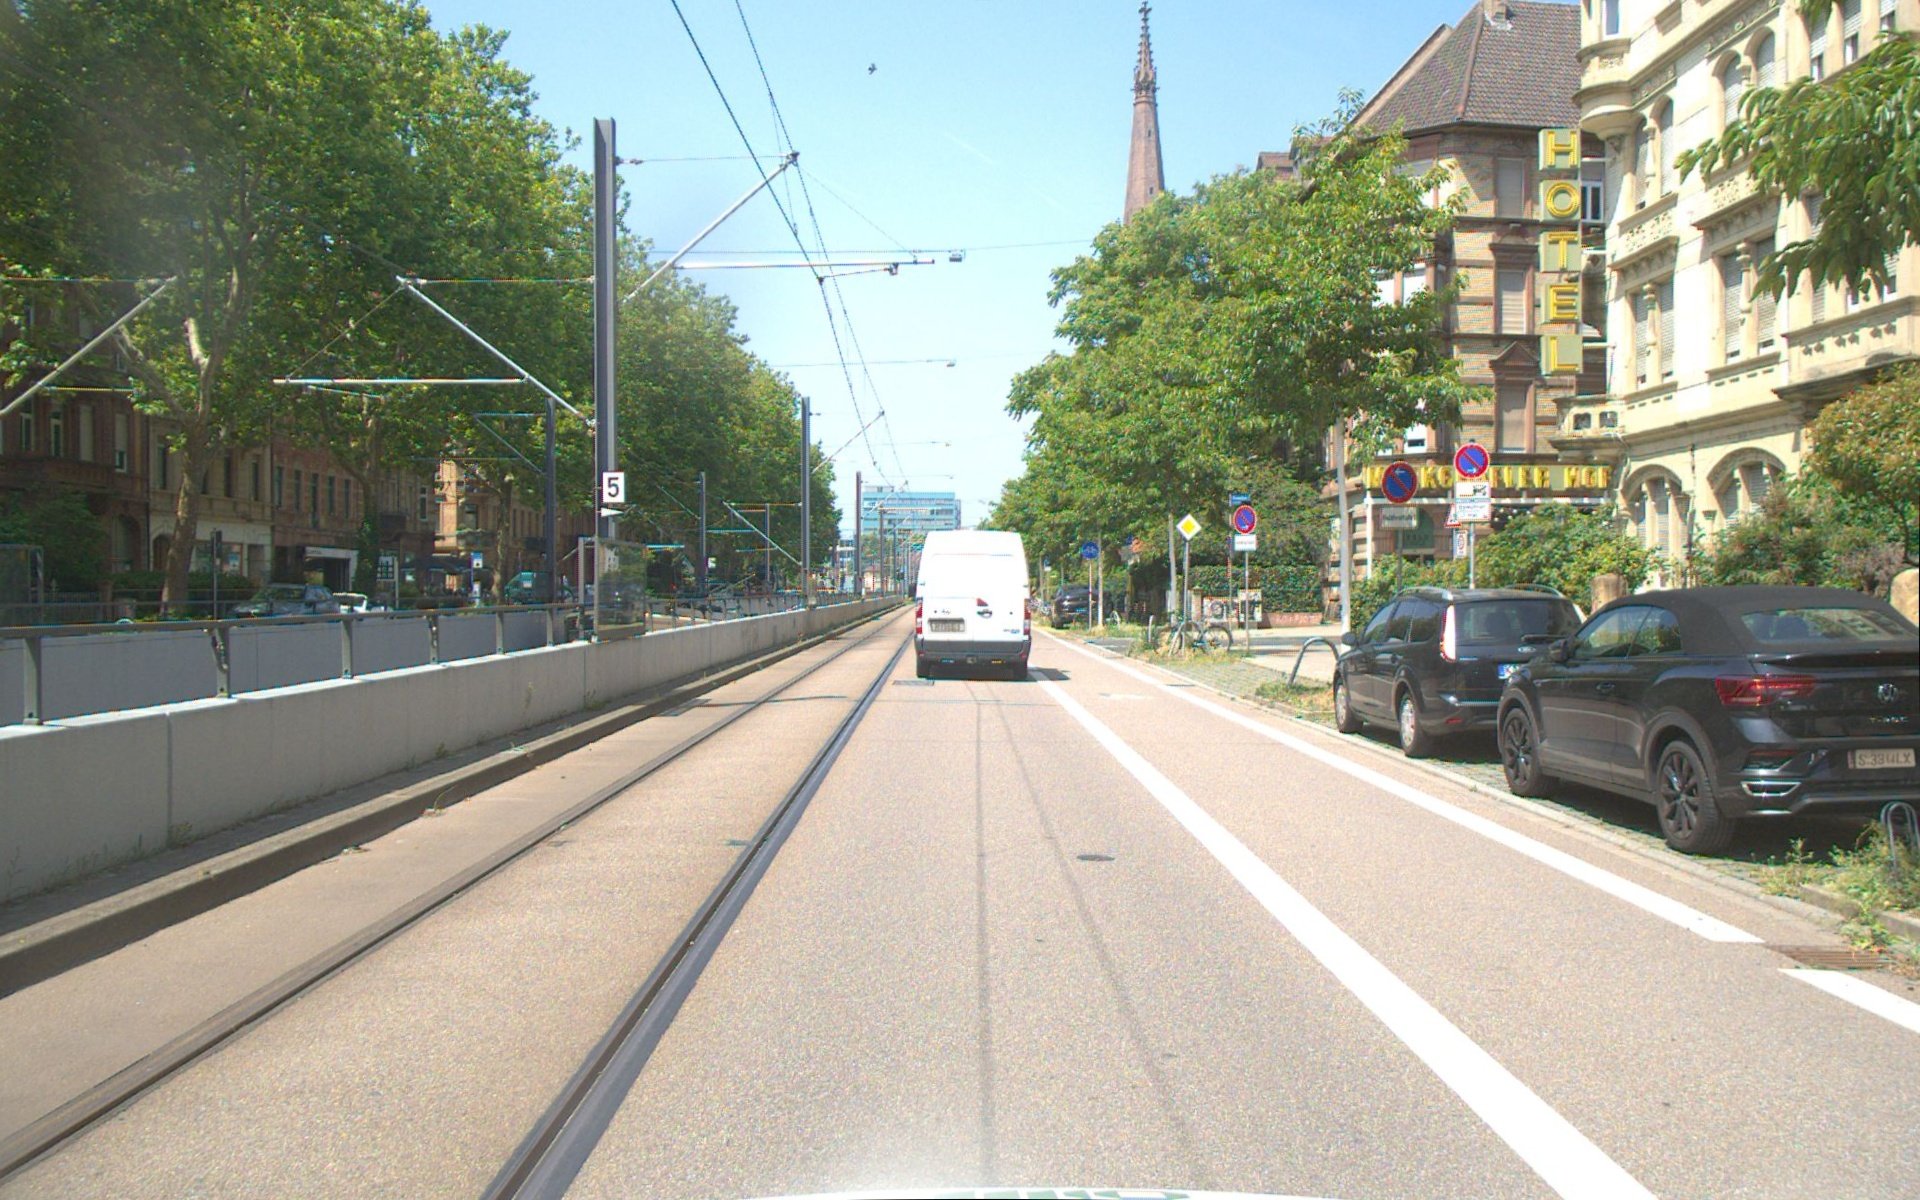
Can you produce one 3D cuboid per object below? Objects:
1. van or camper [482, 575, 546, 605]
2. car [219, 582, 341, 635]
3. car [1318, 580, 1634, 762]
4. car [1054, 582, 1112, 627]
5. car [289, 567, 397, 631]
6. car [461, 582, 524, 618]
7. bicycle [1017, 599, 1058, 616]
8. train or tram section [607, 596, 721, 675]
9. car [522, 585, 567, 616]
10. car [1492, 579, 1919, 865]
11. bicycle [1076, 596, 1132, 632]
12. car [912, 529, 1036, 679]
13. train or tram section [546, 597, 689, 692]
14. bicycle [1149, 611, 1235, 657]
[{"bbox_3d":[-30.692,-0.668,113.936,3.907,2.049,1.999,0,0,-3],"label":"van or camper"},{"bbox_3d":[-19.269,0.214,47.072,1.814,1.425,4.196,0,0,-1],"label":"car"},{"bbox_3d":[4.926,0.599,16.450,1.694,1.562,4.403,0,0,-1],"label":"car"},{"bbox_3d":[4.836,0.166,65.721,2.112,1.699,4.001,0,0,2],"label":"car"},{"bbox_3d":[-19.437,-0.049,52.299,1.953,1.937,4.147,0,0,-1],"label":"car"},{"bbox_3d":[-20.042,-0.014,71.026,1.559,1.473,4.000,0,0,0],"label":"car"},{"bbox_3d":[4.047,0.356,85.951,1.526,0.841,4.003,0,0,12],"label":"bicycle"},{"bbox_3d":[-10.252,1.161,58.044,2.674,2.552,8.001,0,0,-1],"label":"train or tram section"},{"bbox_3d":[-19.806,0.024,78.871,1.345,1.448,3.088,0,0,0],"label":"car"},{"bbox_3d":[5.023,0.649,11.026,1.633,1.557,4.012,0,0,-1],"label":"car"},{"bbox_3d":[4.964,0.479,56.988,1.849,1.202,0.640,0,0,-2],"label":"bicycle"},{"bbox_3d":[0.192,0.049,30.284,2.074,2.502,5.053,0,0,-1],"label":"car"},{"bbox_3d":[-10.122,1.210,49.733,2.674,2.552,8.515,0,0,-1],"label":"train or tram section"},{"bbox_3d":[5.029,0.731,35.883,1.804,0.970,0.503,0,0,1],"label":"bicycle"}]
